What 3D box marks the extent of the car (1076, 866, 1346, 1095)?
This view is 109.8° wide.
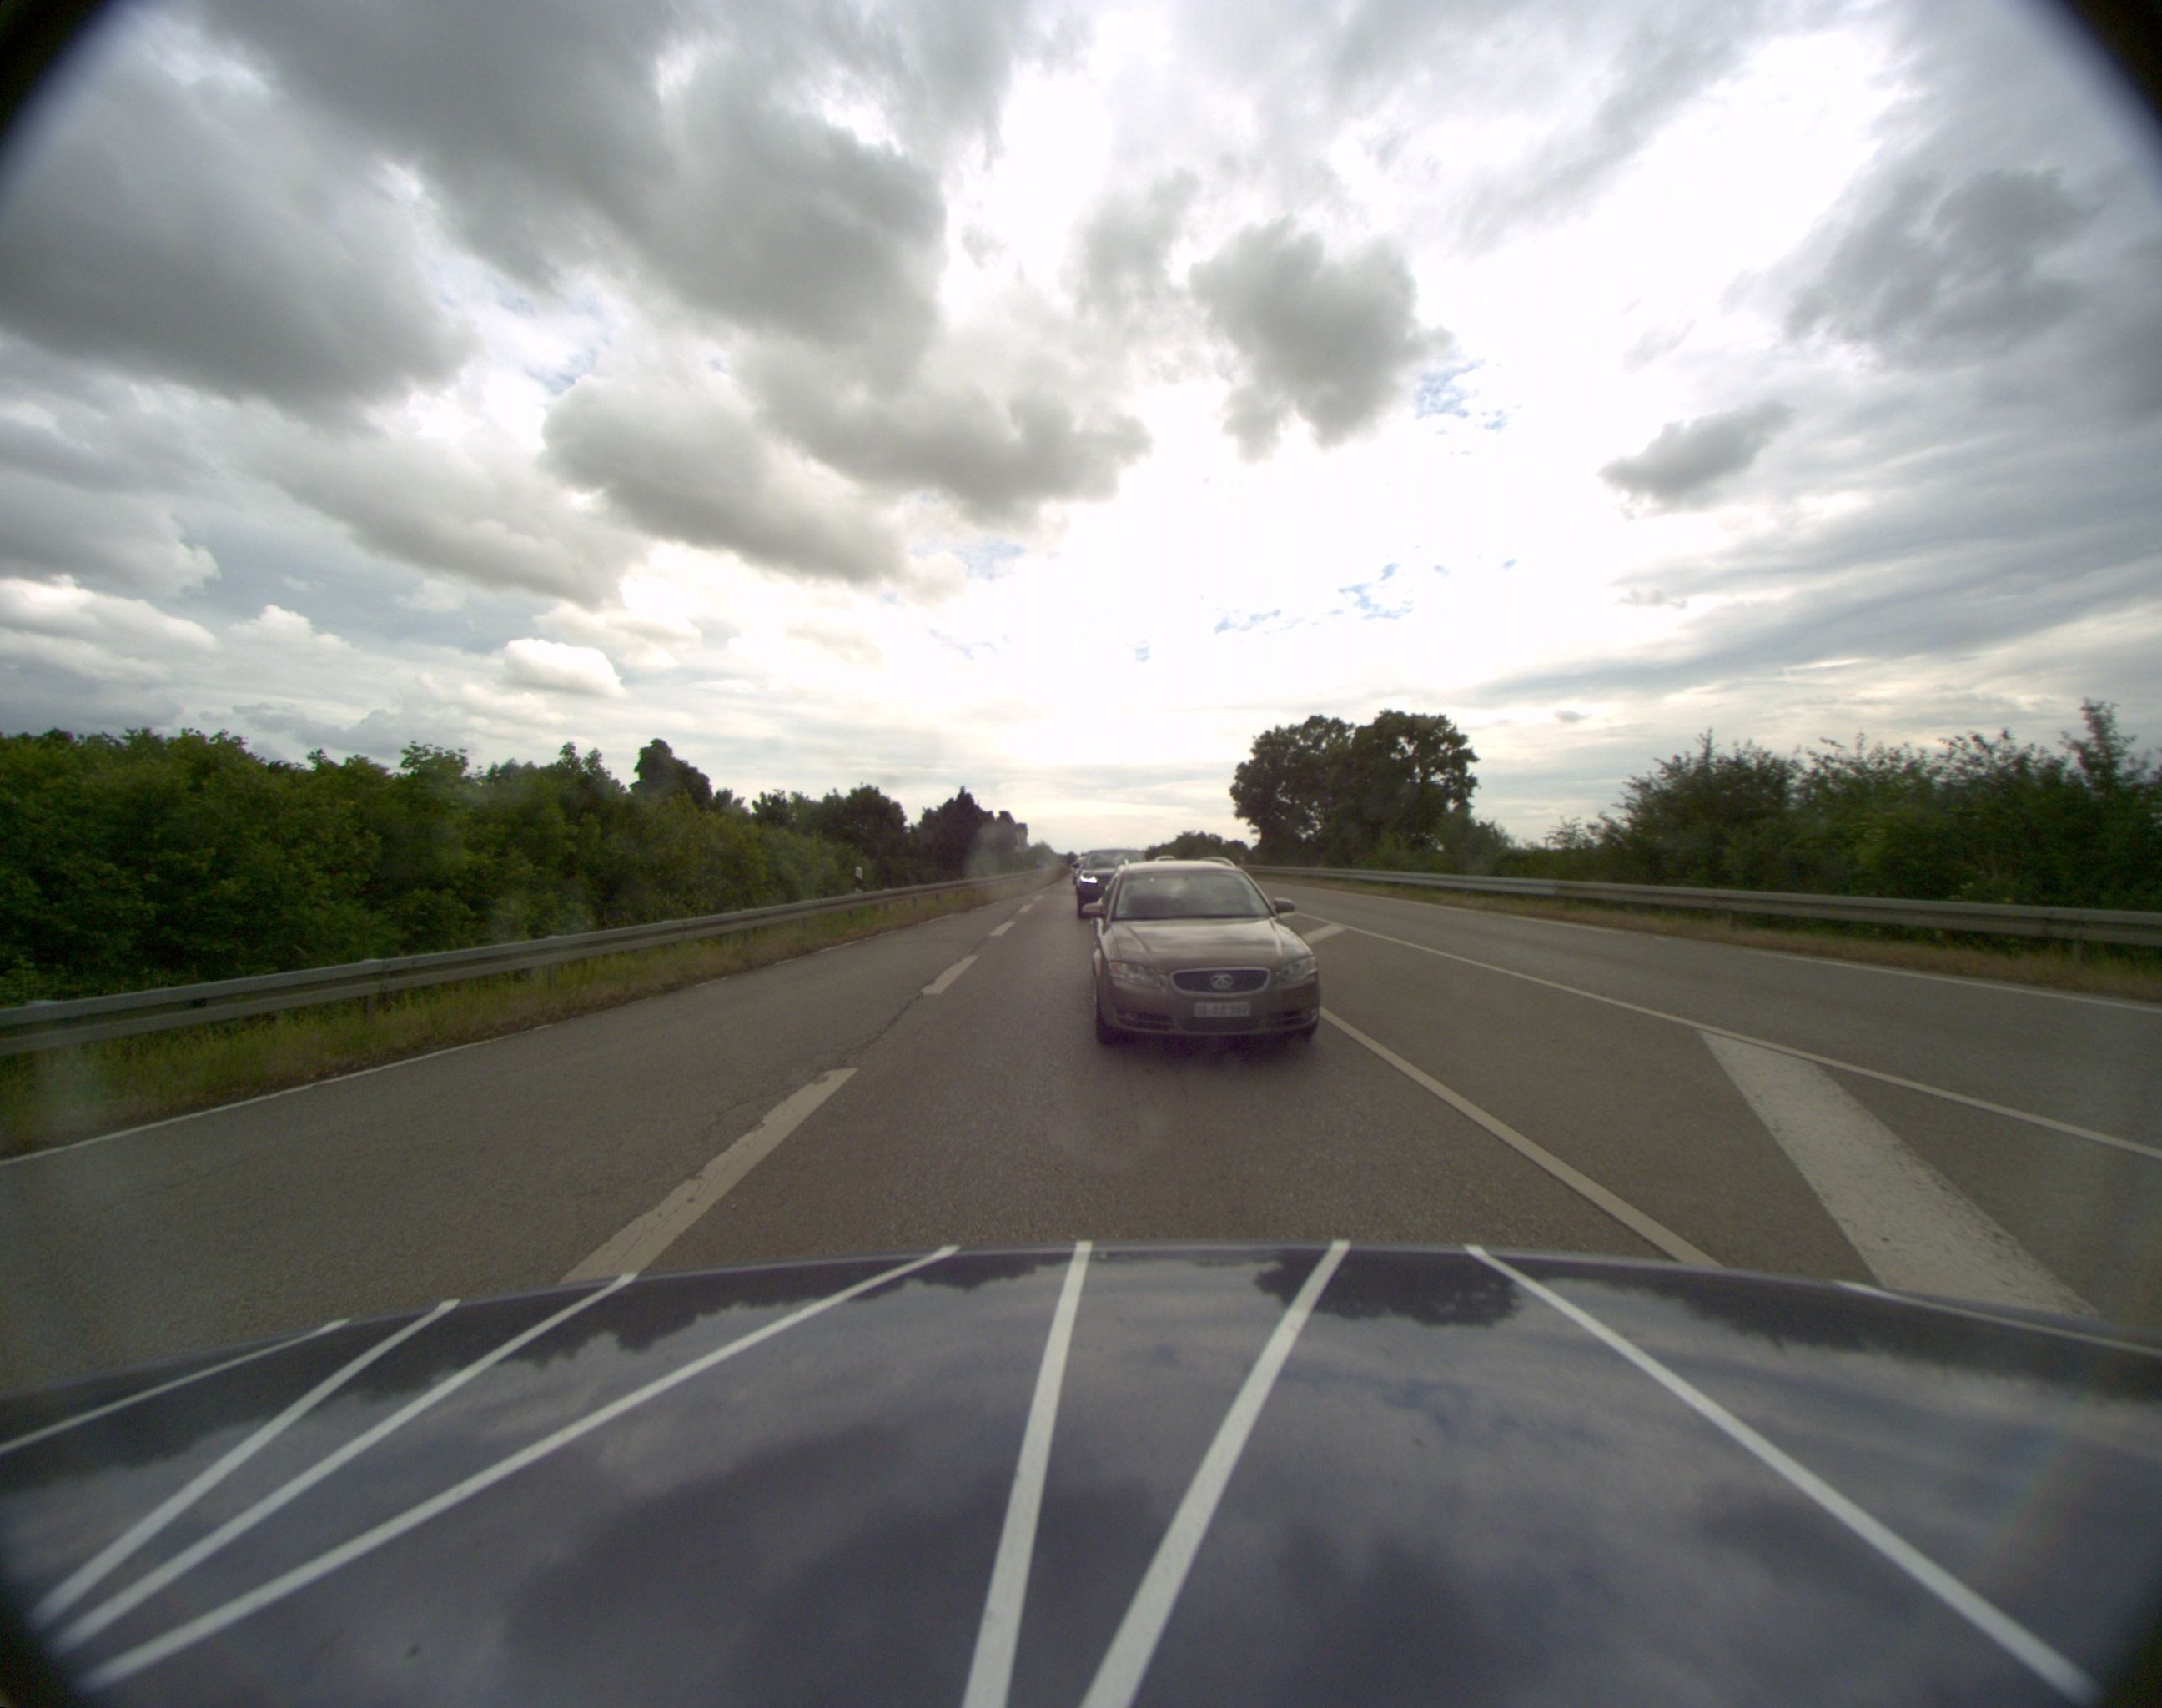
[{"bbox_3d":[0.899,0.887,7.122,1.784,1.442,4.035,-1,0,1],"label":"car"}]

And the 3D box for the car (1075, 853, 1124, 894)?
[{"bbox_3d":[0.735,0.752,31.132,1.834,1.537,4.035,-1,0,1],"label":"car"}]

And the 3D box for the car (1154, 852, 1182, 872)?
[{"bbox_3d":[6.609,0.595,57.824,1.824,1.366,4.612,-1,1,3],"label":"car"}]

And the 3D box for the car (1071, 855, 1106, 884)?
[{"bbox_3d":[0.432,0.834,43.544,1.834,1.537,4.035,-1,0,1],"label":"car"}]

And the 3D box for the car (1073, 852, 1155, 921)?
[{"bbox_3d":[0.778,0.739,19.239,1.834,1.537,4.035,-1,0,1],"label":"car"}]
